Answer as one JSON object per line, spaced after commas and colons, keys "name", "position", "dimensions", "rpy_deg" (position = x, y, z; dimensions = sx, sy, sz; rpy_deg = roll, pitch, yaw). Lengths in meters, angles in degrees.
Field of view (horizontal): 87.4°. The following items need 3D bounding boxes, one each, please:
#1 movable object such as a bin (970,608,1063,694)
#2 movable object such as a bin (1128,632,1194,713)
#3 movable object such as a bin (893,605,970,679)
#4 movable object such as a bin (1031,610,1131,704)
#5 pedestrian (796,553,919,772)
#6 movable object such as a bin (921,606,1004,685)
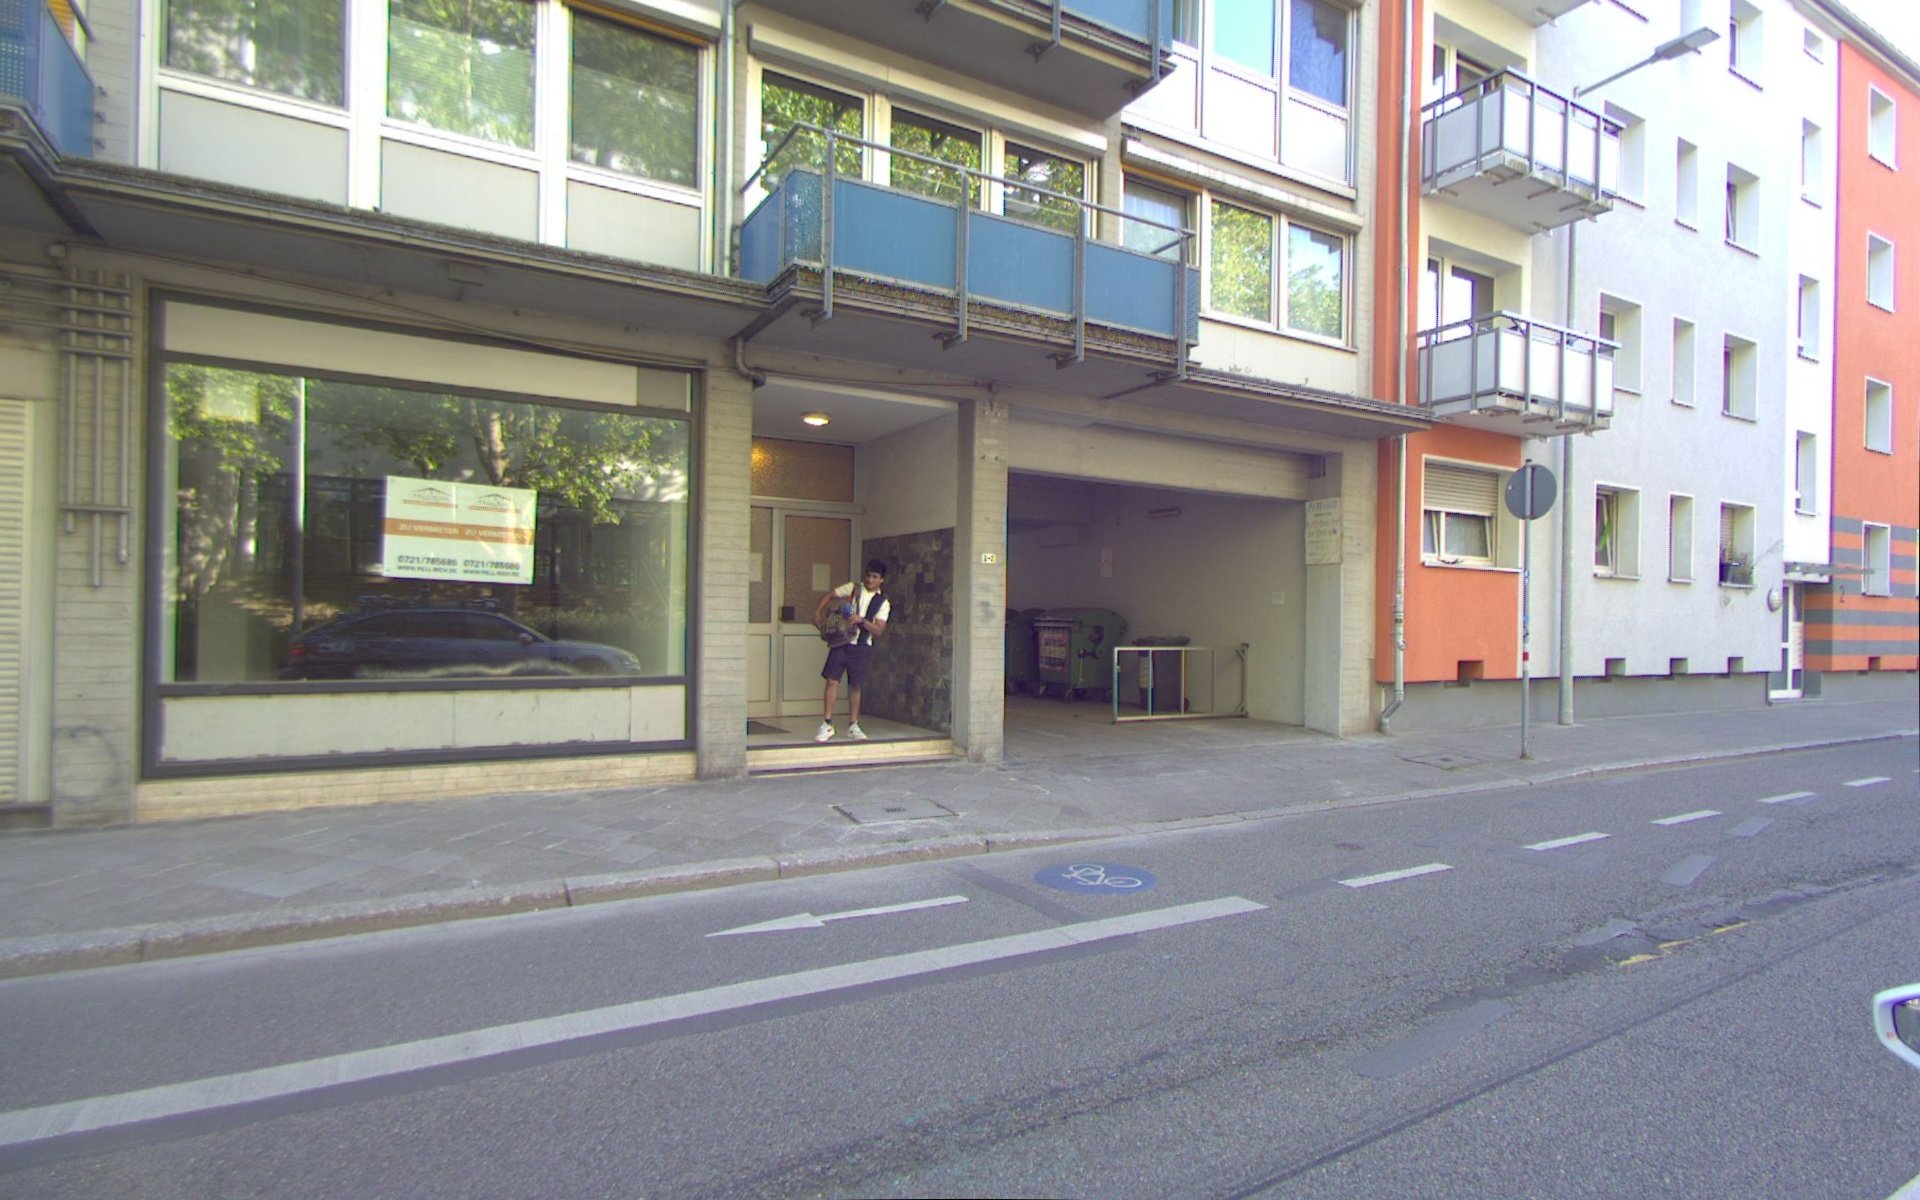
{"name": "movable object such as a bin", "position": [0.948, 0.846, 17.127], "dimensions": [1.066, 1.384, 1.255], "rpy_deg": [2, 0, -27]}
{"name": "movable object such as a bin", "position": [2.890, 1.027, 14.462], "dimensions": [0.650, 1.115, 0.626], "rpy_deg": [2, 0, -27]}
{"name": "movable object such as a bin", "position": [-0.571, 0.812, 19.865], "dimensions": [1.066, 1.384, 1.255], "rpy_deg": [2, 0, -27]}
{"name": "movable object such as a bin", "position": [1.889, 0.868, 15.813], "dimensions": [1.066, 1.384, 1.192], "rpy_deg": [2, 0, -27]}
{"name": "pedestrian", "position": [-0.948, 0.553, 9.255], "dimensions": [0.882, 1.902, 0.703], "rpy_deg": [2, 0, -28]}
{"name": "movable object such as a bin", "position": [0.037, 0.825, 18.696], "dimensions": [1.066, 1.384, 1.255], "rpy_deg": [2, 0, -27]}
